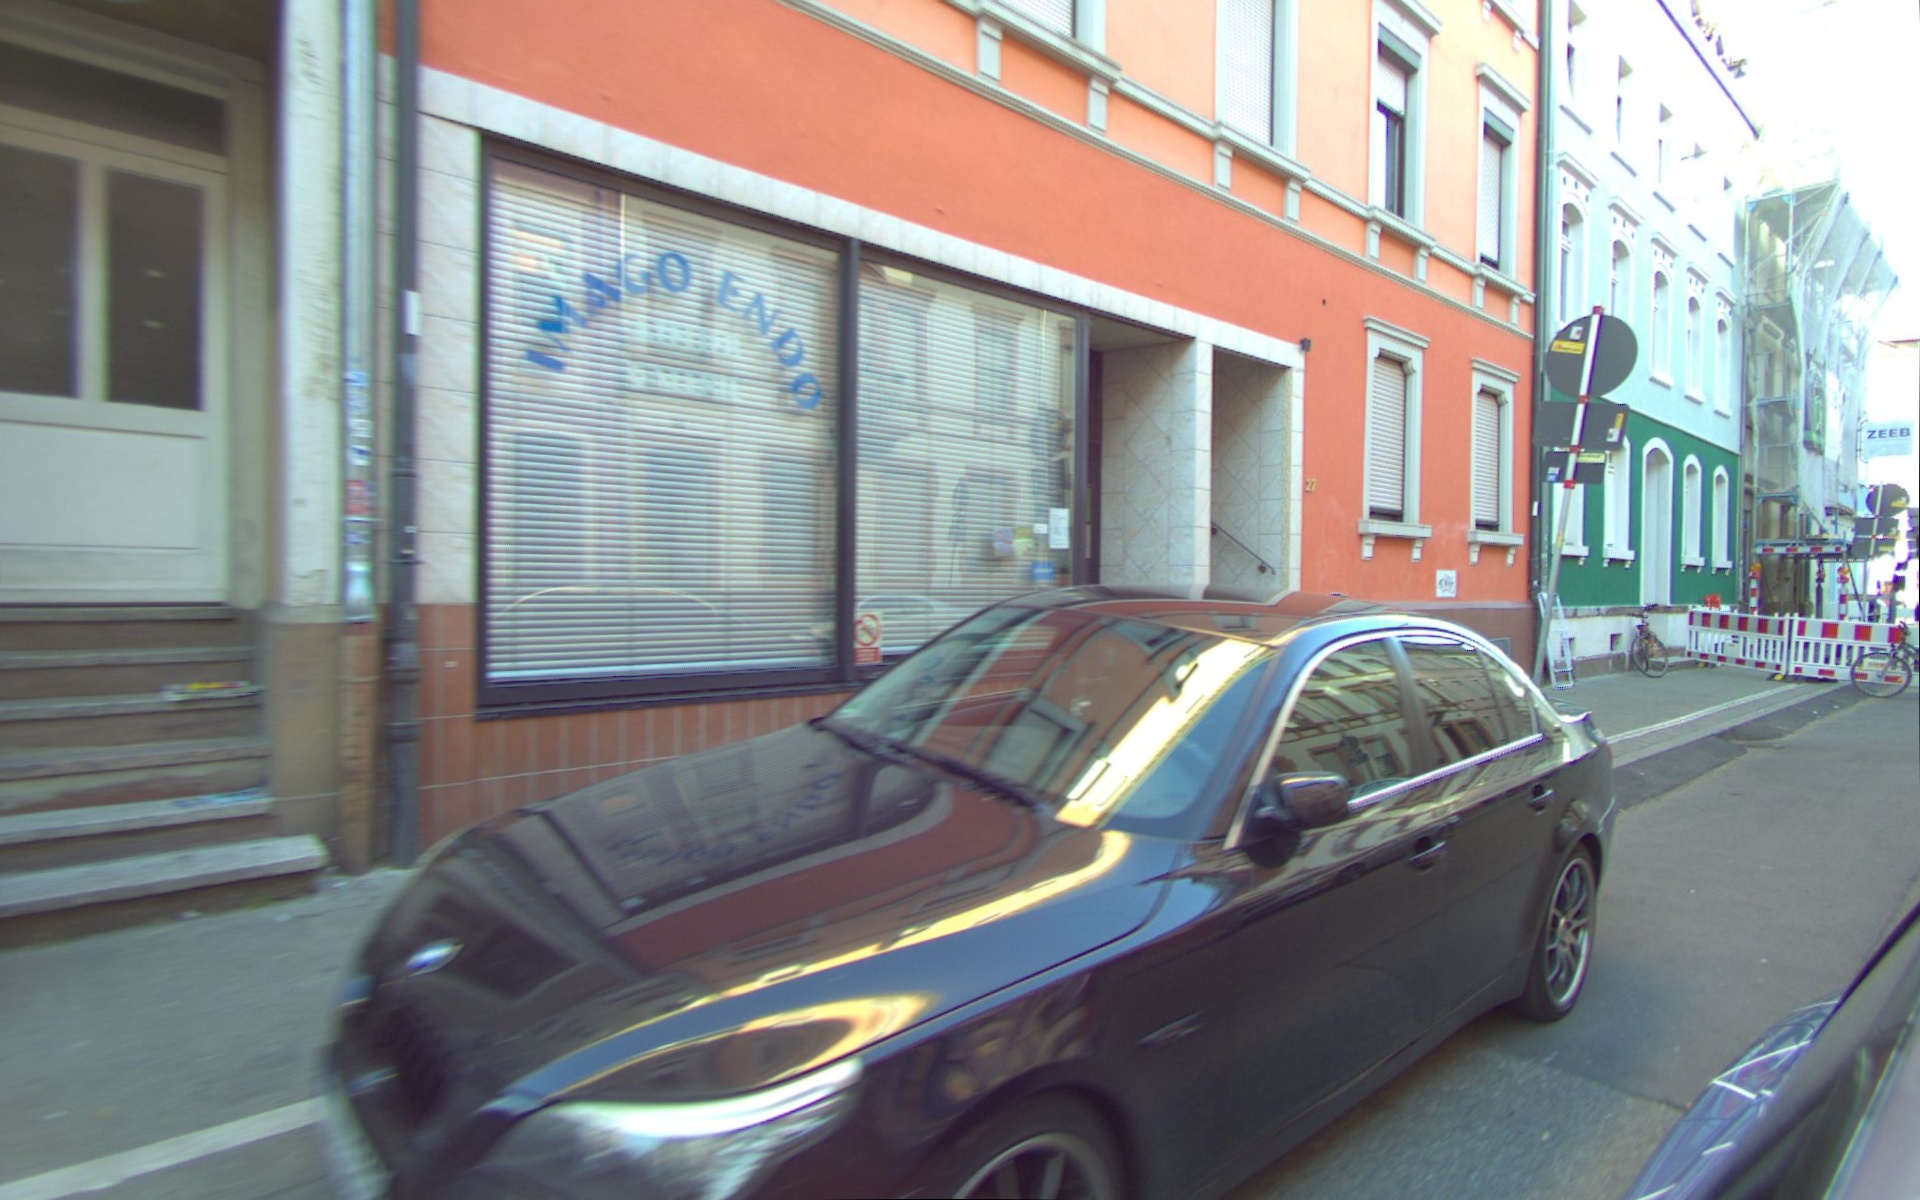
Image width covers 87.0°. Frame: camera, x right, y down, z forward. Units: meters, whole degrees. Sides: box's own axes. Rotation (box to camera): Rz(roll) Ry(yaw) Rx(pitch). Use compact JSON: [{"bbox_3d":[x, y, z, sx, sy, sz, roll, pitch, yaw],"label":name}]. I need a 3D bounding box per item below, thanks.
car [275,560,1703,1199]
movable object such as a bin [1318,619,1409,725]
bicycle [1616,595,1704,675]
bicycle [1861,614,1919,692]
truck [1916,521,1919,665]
[{"bbox_3d":[0.690,0.651,3.328,4.708,1.456,1.820,-1,4,-41],"label":"car"},{"bbox_3d":[3.898,0.675,9.783,0.569,0.916,0.598,-2,5,-42],"label":"movable object such as a bin"},{"bbox_3d":[11.193,0.525,16.168,1.802,1.141,0.656,-1,6,-41],"label":"bicycle"},{"bbox_3d":[14.523,0.792,14.922,1.848,1.124,0.634,0,0,43],"label":"bicycle"},{"bbox_3d":[22.555,-0.195,21.422,7.264,2.849,2.666,-1,0,-41],"label":"truck"}]
